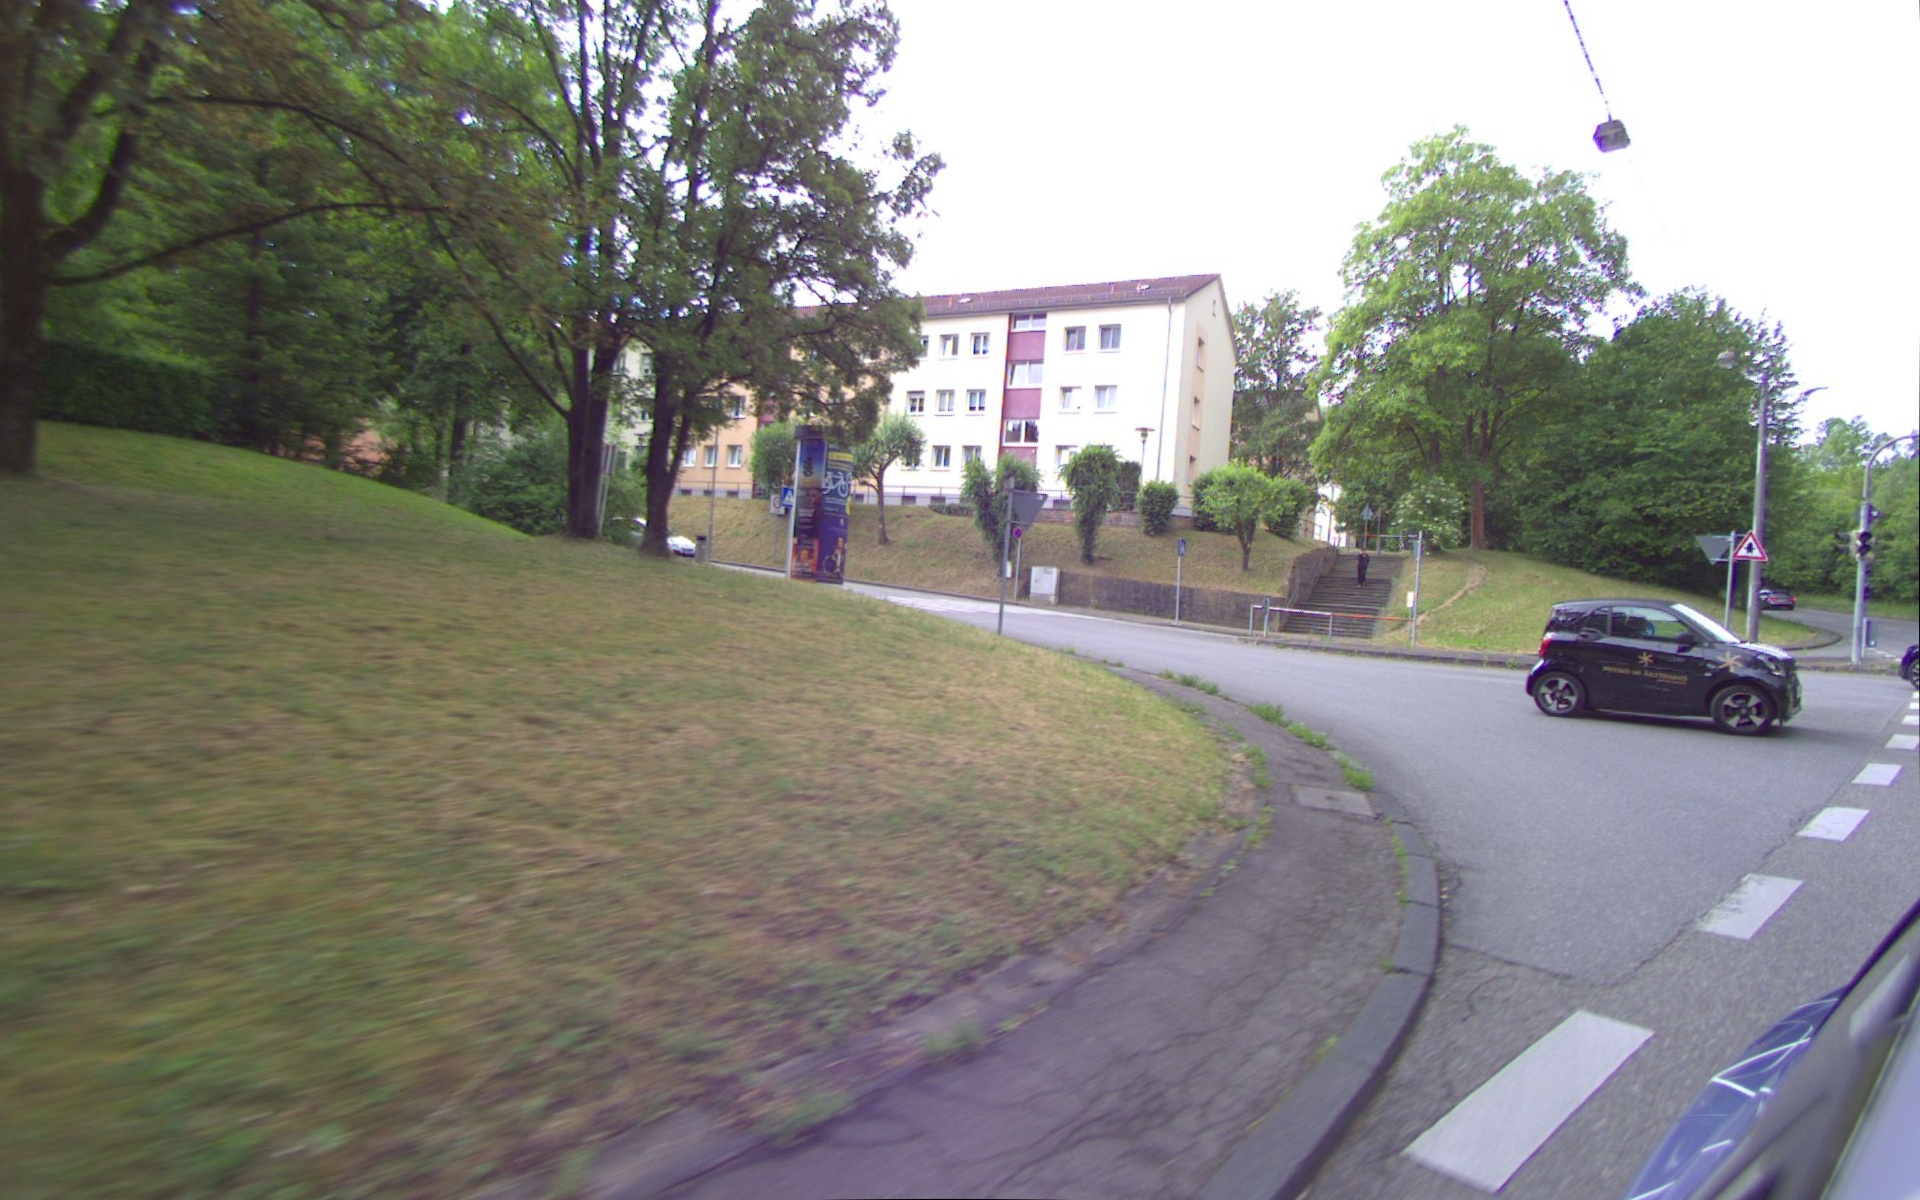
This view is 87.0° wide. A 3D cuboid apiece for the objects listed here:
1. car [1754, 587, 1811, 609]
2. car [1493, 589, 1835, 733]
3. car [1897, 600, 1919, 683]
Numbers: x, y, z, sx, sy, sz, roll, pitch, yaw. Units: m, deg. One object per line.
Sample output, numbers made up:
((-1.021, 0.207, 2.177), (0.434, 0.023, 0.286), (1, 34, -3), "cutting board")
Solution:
((60.652, -0.174, 74.698), (1.882, 1.370, 4.809), (1, 3, 22), "car")
((8.821, 0.663, 12.830), (1.640, 1.513, 3.306), (1, 1, -44), "car")
((18.504, 0.728, 16.675), (1.762, 1.534, 4.837), (0, -1, 3), "car")
